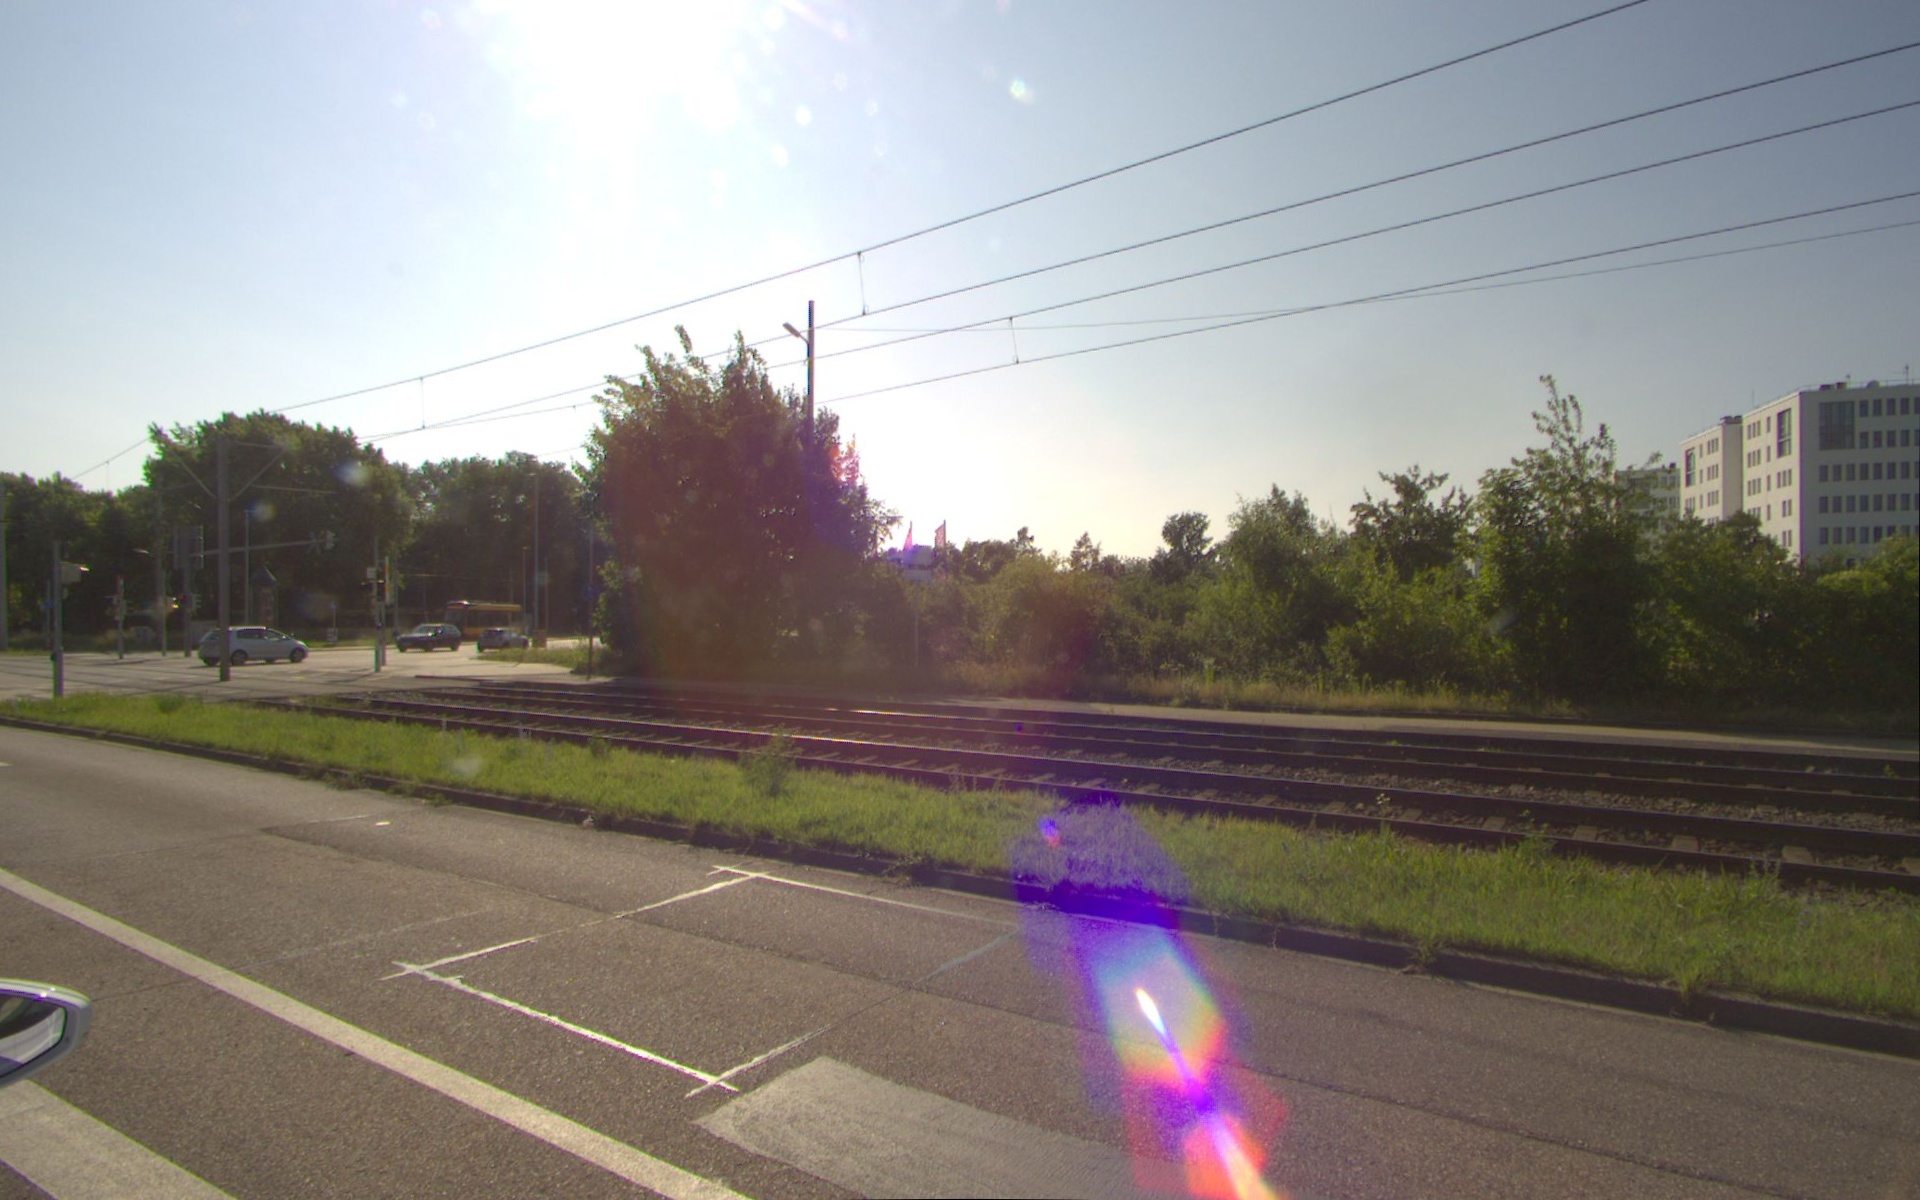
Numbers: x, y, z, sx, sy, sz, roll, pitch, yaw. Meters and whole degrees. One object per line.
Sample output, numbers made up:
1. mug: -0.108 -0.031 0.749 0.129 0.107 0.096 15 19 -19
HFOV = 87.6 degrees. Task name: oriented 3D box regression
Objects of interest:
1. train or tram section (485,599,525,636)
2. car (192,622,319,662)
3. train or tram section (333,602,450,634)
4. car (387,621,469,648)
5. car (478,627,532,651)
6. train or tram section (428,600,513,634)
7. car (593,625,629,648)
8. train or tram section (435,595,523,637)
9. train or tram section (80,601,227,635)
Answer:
1. train or tram section: -47.586 1.802 104.579 3.009 3.626 12.174 0 -1 -28
2. car: -30.160 1.763 43.005 1.823 1.583 4.197 0 -1 19
3. train or tram section: -66.436 2.096 117.189 11.992 3.626 3.054 0 -1 -1
4. car: -31.827 2.030 60.092 2.005 1.583 4.863 0 -1 5
5. car: -27.828 2.345 61.379 1.575 1.401 3.530 0 -1 3
6. train or tram section: -55.493 1.940 113.410 12.061 3.626 3.037 -1 -1 34
7. car: -28.115 2.983 80.888 1.617 1.743 4.627 0 -4 -5
8. train or tram section: -44.405 1.528 92.962 2.995 3.626 11.853 0 -1 -3
9. train or tram section: -88.914 1.989 110.775 12.249 3.626 3.041 0 -1 -27
